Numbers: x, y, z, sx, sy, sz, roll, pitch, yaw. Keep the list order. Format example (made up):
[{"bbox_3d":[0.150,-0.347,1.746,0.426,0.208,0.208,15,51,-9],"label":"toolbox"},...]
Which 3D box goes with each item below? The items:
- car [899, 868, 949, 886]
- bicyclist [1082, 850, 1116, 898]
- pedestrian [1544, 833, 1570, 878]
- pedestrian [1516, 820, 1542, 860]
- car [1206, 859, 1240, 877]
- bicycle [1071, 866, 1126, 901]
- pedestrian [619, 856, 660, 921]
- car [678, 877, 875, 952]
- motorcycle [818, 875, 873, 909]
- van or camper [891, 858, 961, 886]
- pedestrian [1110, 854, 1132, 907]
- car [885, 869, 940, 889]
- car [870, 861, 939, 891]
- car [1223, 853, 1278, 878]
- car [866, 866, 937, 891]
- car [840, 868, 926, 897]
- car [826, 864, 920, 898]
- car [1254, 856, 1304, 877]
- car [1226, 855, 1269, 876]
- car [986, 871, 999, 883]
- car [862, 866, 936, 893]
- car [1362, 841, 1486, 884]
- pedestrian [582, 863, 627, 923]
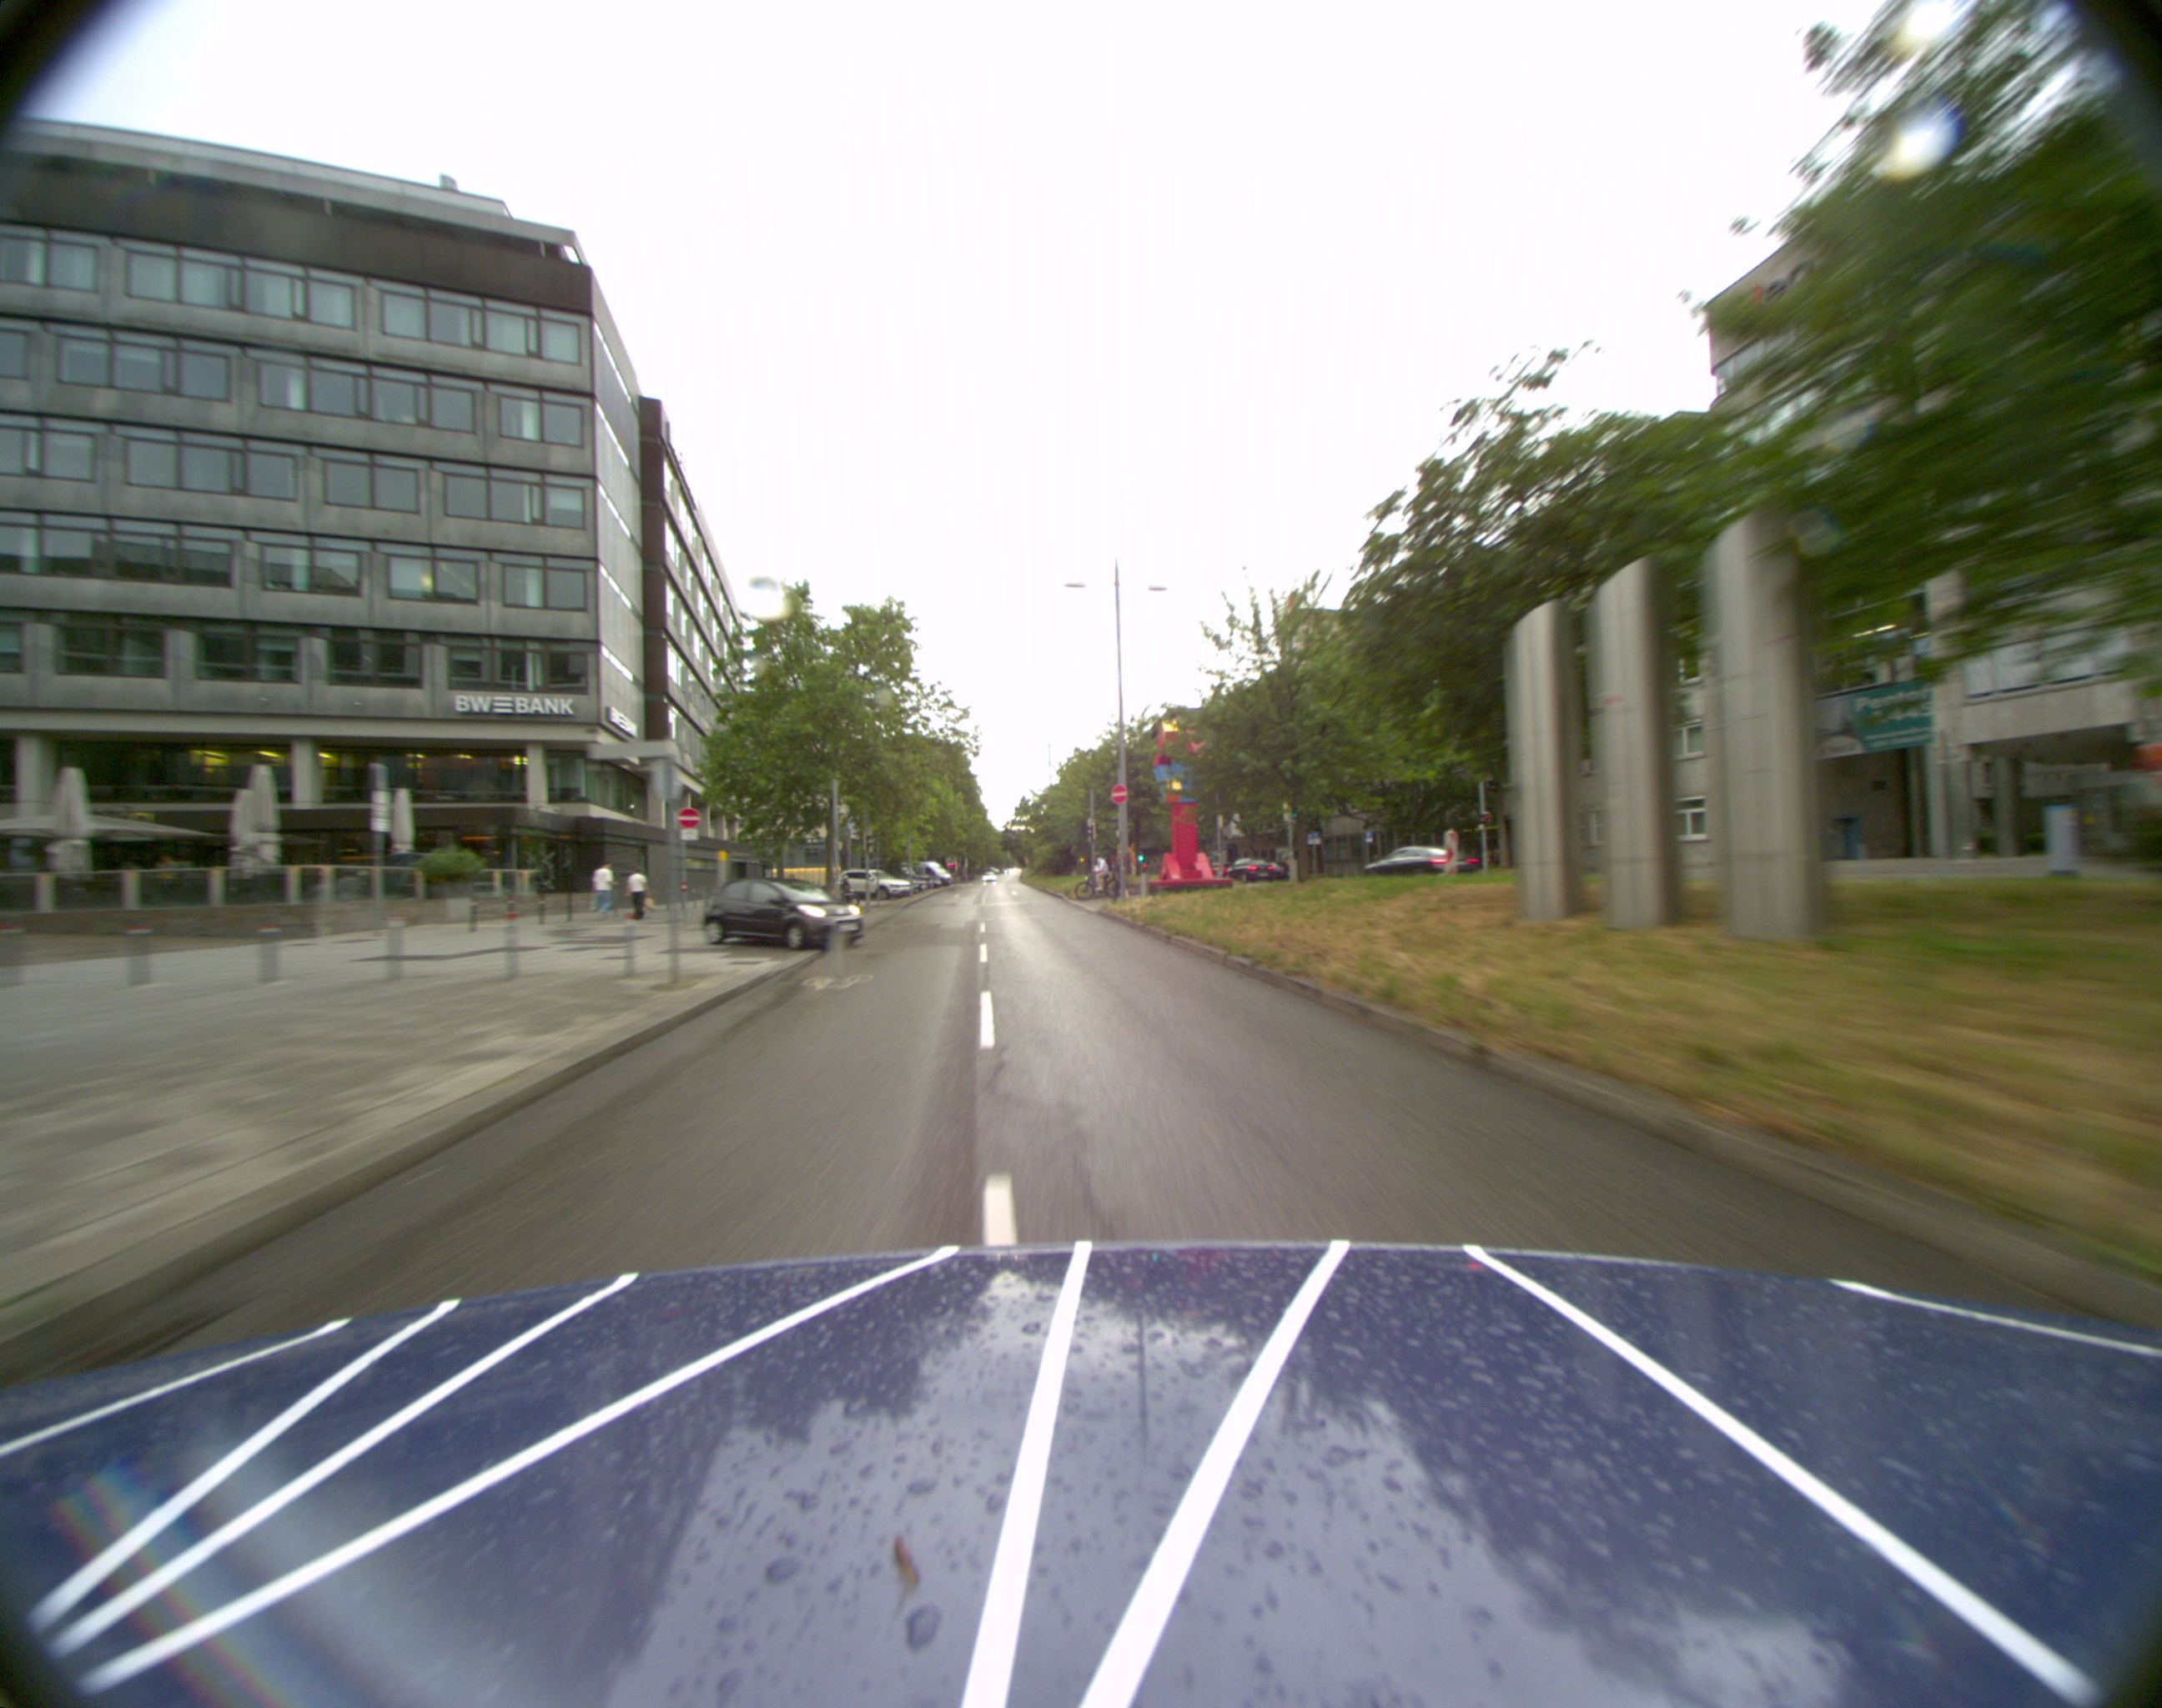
[{"bbox_3d":[-14.181,2.106,68.611,4.052,1.415,1.711,-3,-1,23],"label":"car"},{"bbox_3d":[0.669,0.748,29.200,1.079,1.739,0.812,-5,2,-5],"label":"bicyclist"},{"bbox_3d":[19.392,0.075,30.963,0.529,1.777,0.721,-2,0,-5],"label":"pedestrian"},{"bbox_3d":[18.660,-0.575,31.644,0.607,1.619,0.619,-2,0,-5],"label":"pedestrian"},{"bbox_3d":[12.270,1.189,65.952,1.691,1.493,3.690,-1,-1,-9],"label":"car"},{"bbox_3d":[0.662,1.130,29.198,1.977,1.132,0.777,-5,0,-5],"label":"bicycle"},{"bbox_3d":[-14.322,1.106,24.678,0.852,2.027,0.753,-2,0,-6],"label":"pedestrian"},{"bbox_3d":[-6.501,1.266,16.235,3.825,1.408,1.638,-2,0,23],"label":"car"},{"bbox_3d":[-9.959,1.614,32.191,2.088,1.349,0.677,-2,0,1],"label":"motorcycle"},{"bbox_3d":[-14.717,1.736,72.242,6.252,2.432,2.319,-3,-1,24],"label":"van or camper"},{"bbox_3d":[1.299,0.867,24.720,0.529,1.675,0.721,-2,0,-5],"label":"pedestrian"},{"bbox_3d":[-13.569,1.984,61.263,4.004,1.415,1.711,-3,-1,23],"label":"car"},{"bbox_3d":[-12.826,1.582,55.243,4.508,1.981,1.925,-3,-1,23],"label":"car"},{"bbox_3d":[9.872,0.676,44.549,1.795,1.406,3.997,0,-1,-10],"label":"car"},{"bbox_3d":[-12.345,1.696,52.397,4.382,1.528,1.919,-3,-1,20],"label":"car"},{"bbox_3d":[-11.701,1.682,44.827,4.712,1.465,1.920,-3,-1,26],"label":"car"},{"bbox_3d":[-11.411,1.487,41.675,4.793,1.640,1.919,-3,-1,24],"label":"car"},{"bbox_3d":[14.513,0.940,55.919,1.868,1.421,4.563,-1,-1,-9],"label":"car"},{"bbox_3d":[13.331,0.949,61.055,1.868,1.612,4.464,-1,-1,-9],"label":"car"},{"bbox_3d":[-13.396,3.425,114.645,1.792,1.736,4.572,-1,-1,-9],"label":"car"},{"bbox_3d":[-11.889,1.655,49.648,4.348,1.528,1.919,-3,-1,20],"label":"car"},{"bbox_3d":[12.388,0.335,27.812,1.868,1.421,4.562,-1,-1,-10],"label":"car"},{"bbox_3d":[-15.326,1.234,24.447,0.803,1.857,0.898,-2,0,1],"label":"pedestrian"}]
